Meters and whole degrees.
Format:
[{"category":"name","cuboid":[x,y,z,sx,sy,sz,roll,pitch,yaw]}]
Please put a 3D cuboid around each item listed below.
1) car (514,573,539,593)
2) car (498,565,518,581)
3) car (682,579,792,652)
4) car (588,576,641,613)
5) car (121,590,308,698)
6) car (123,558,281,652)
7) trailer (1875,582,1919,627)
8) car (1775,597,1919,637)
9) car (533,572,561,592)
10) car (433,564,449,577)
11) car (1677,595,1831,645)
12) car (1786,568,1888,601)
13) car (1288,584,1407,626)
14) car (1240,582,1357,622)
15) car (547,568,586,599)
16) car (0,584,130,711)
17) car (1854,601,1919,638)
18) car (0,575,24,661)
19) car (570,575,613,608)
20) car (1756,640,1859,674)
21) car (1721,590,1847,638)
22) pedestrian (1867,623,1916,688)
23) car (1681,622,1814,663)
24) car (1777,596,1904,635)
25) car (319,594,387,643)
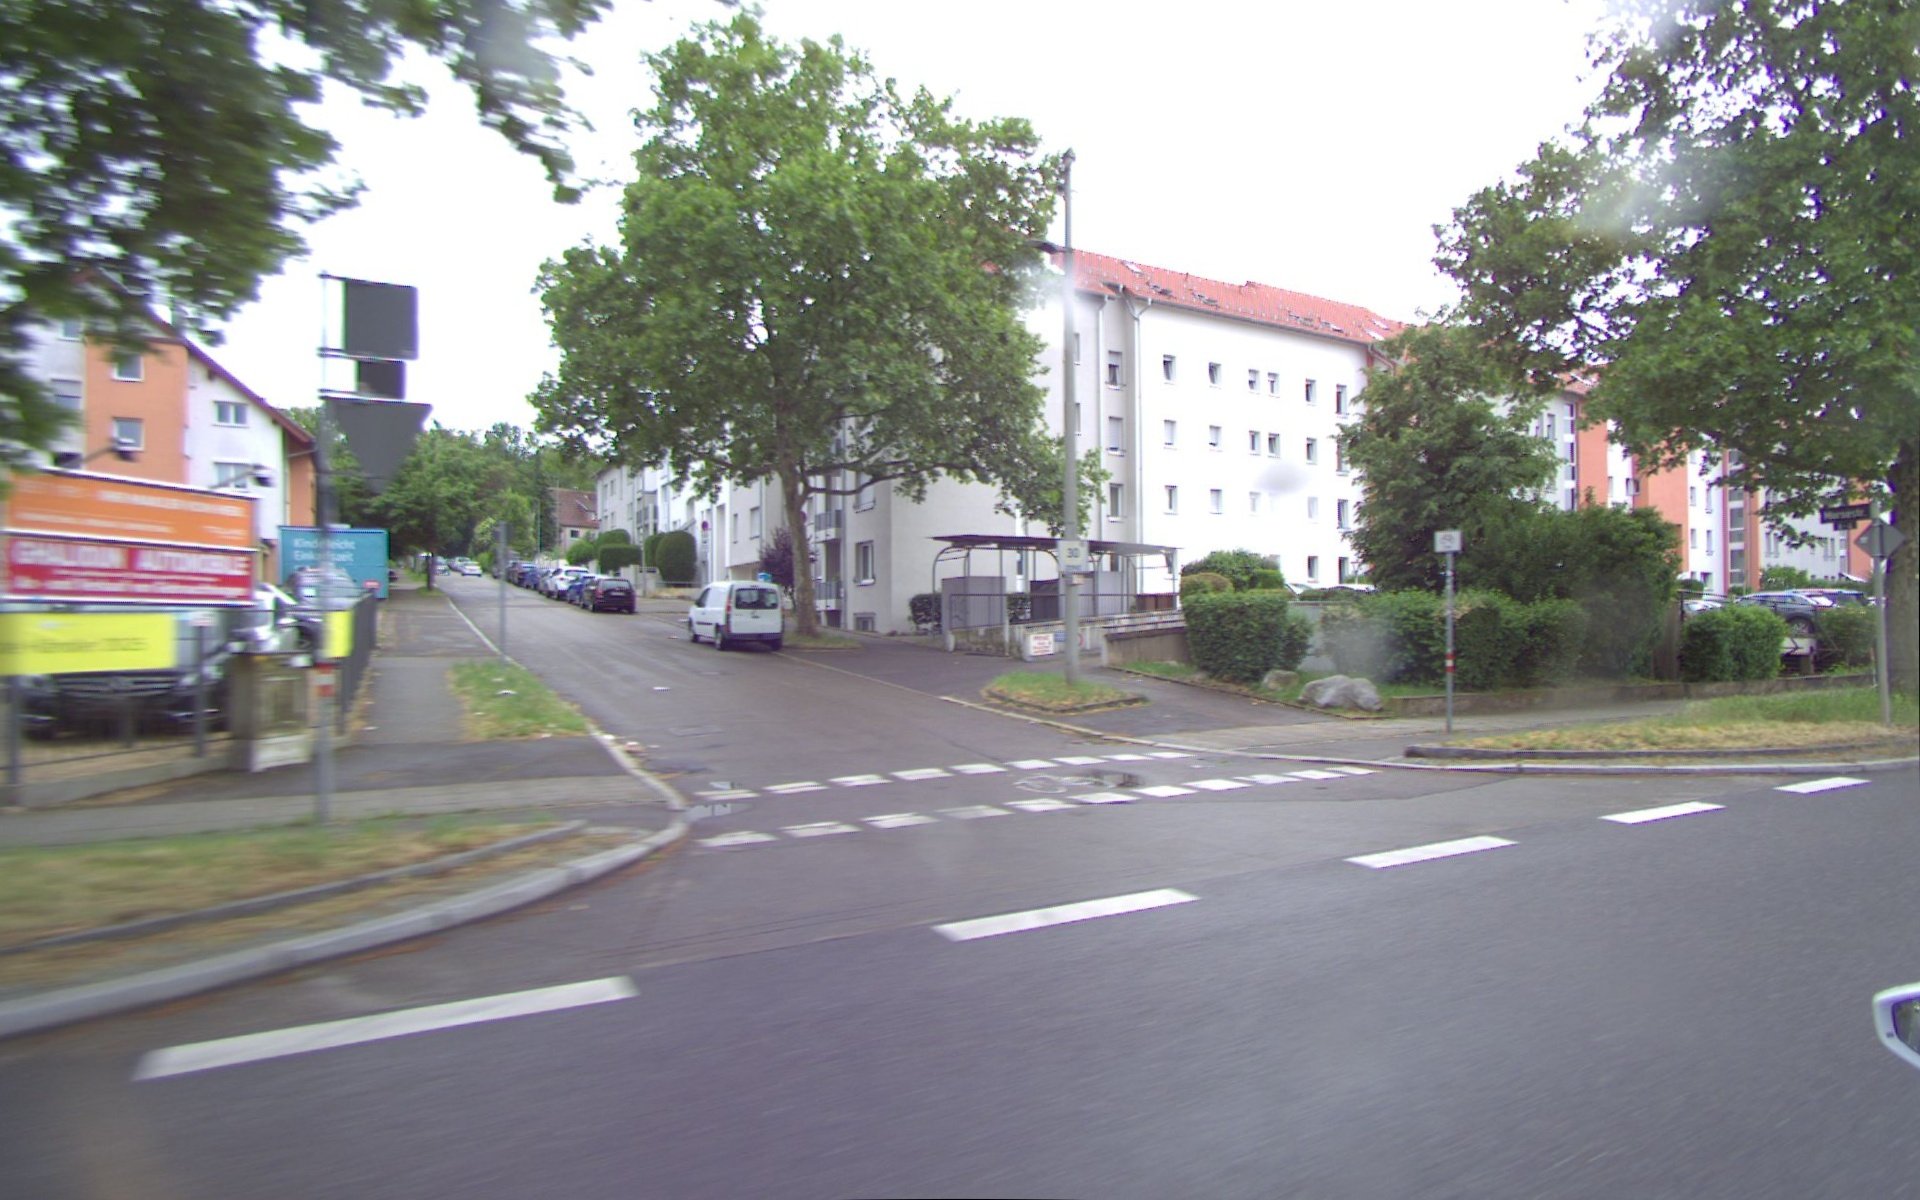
[{"category":"car","cuboid":[-28.317,-1.118,65.602,1.226,1.206,2.487,3,0,-29]},{"category":"car","cuboid":[-36.034,-2.178,80.049,1.226,1.206,2.487,3,0,-29]},{"category":"car","cuboid":[-6.280,0.380,28.023,1.858,1.802,3.968,3,1,-30]},{"category":"car","cuboid":[-14.466,-0.231,42.009,1.551,1.424,2.951,3,0,-29]},{"category":"car","cuboid":[-11.919,0.643,16.353,1.977,1.516,4.146,3,-1,-31]},{"category":"car","cuboid":[-15.442,0.093,20.694,1.863,1.706,3.971,3,0,-27]},{"category":"trailer","cuboid":[35.624,0.182,36.852,1.462,1.667,2.692,2,0,-29]},{"category":"car","cuboid":[32.960,0.612,37.102,1.788,1.320,4.070,3,0,-29]},{"category":"car","cuboid":[-24.682,-1.093,60.067,1.226,1.137,2.487,3,0,-29]},{"category":"car","cuboid":[-48.478,-2.738,93.837,1.200,1.077,2.374,3,0,-30]},{"category":"car","cuboid":[26.670,0.650,33.834,1.877,1.518,3.631,3,0,-33]},{"category":"car","cuboid":[47.056,-0.827,53.957,1.699,1.623,3.790,3,0,-31]},{"category":"car","cuboid":[14.473,0.153,37.746,1.825,1.433,3.972,3,0,-27]},{"category":"car","cuboid":[12.314,0.049,36.800,1.722,1.335,3.972,3,0,-27]},{"category":"car","cuboid":[-19.833,-0.843,50.624,1.368,1.494,3.133,3,0,-29]},{"category":"car","cuboid":[-13.914,0.608,14.762,1.977,1.675,3.967,3,-1,-31]},{"category":"car","cuboid":[38.857,0.824,40.120,1.838,1.443,4.335,3,0,-29]},{"category":"car","cuboid":[-19.553,0.332,18.834,1.863,1.706,3.971,3,0,-27]},{"category":"car","cuboid":[-17.106,-0.406,46.574,1.375,1.424,2.951,3,0,-29]},{"category":"car","cuboid":[44.532,2.979,52.830,1.699,1.531,3.790,3,-1,-31]},{"category":"car","cuboid":[28.908,0.462,35.317,1.420,1.563,3.116,3,0,-29]},{"category":"pedestrian","cuboid":[24.381,1.452,26.297,0.826,1.632,0.750,2,0,-34]},{"category":"car","cuboid":[31.986,1.693,40.901,1.571,1.423,3.950,3,0,-29]},{"category":"car","cuboid":[31.364,0.532,35.863,1.420,1.287,3.116,3,0,-29]},{"category":"car","cuboid":[-16.322,0.478,26.968,1.338,1.077,2.577,3,2,-35]}]
